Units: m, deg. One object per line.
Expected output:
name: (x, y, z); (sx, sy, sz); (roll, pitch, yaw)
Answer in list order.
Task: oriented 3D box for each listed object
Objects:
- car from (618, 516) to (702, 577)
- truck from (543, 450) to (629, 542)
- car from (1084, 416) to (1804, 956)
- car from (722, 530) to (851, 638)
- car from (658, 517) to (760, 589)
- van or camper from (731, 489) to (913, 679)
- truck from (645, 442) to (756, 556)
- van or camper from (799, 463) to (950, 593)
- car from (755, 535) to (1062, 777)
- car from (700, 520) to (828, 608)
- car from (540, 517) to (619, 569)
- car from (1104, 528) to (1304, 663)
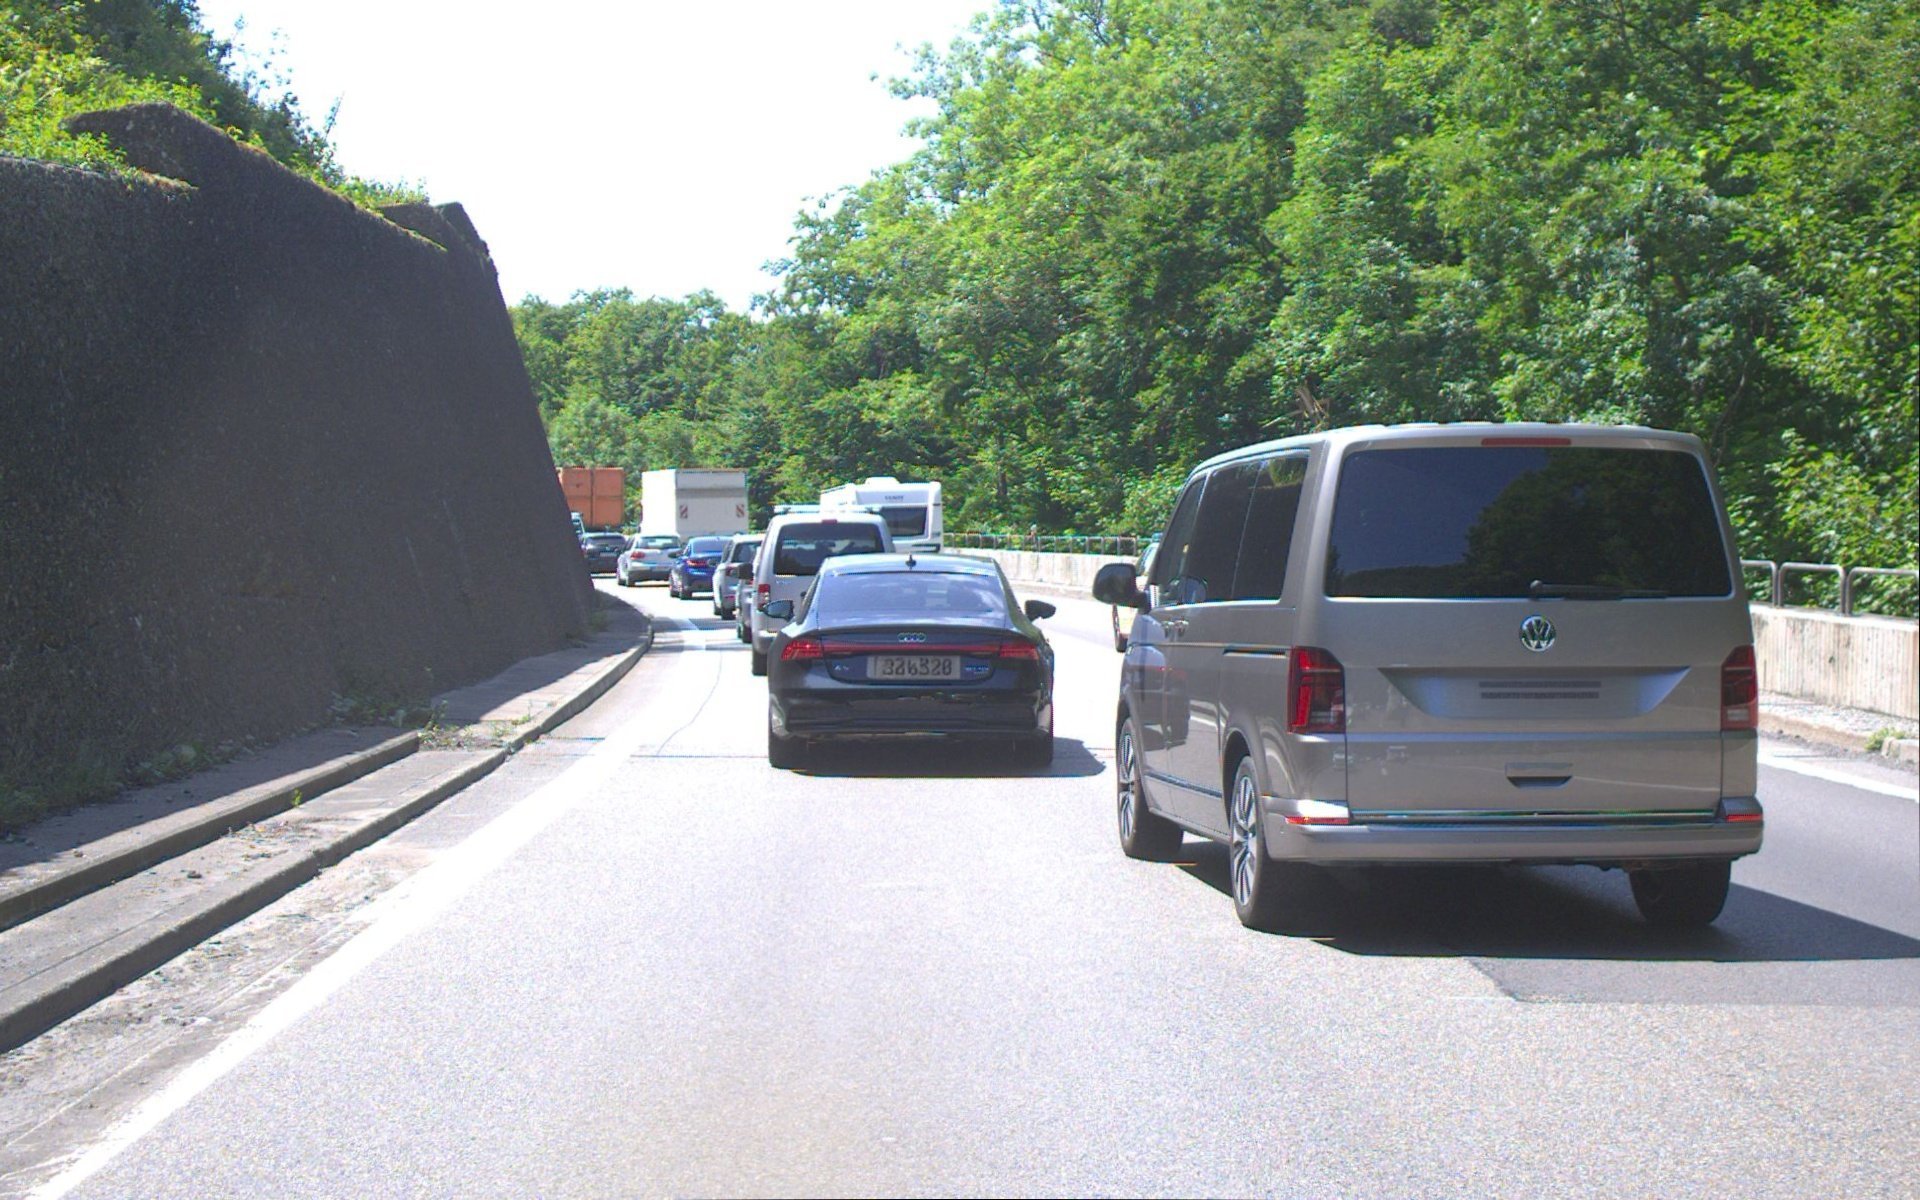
car: (-8.303, -1.483, 94.839); (1.993, 1.612, 4.001); (1, 1, -9)
truck: (-15.523, -4.279, 142.366); (3.163, 3.456, 8.224); (4, 1, -7)
car: (1.836, 0.263, 14.715); (1.940, 1.924, 4.695); (1, 1, -6)
car: (-2.628, -0.268, 51.302); (1.771, 1.467, 4.001); (2, 1, -4)
car: (-5.868, -1.104, 79.923); (1.857, 1.614, 4.001); (-1, 1, -11)
van or camper: (-1.525, -0.213, 39.291); (1.853, 1.935, 4.165); (4, 1, -1)
truck: (-9.167, -3.552, 120.705); (2.924, 3.674, 7.727); (4, 1, -10)
van or camper: (-2.115, -1.750, 82.888); (2.603, 2.845, 6.337); (4, 1, -10)
car: (-0.394, 0.311, 23.733); (1.904, 1.484, 4.380); (1, 1, -2)
car: (-3.709, -0.695, 64.522); (1.894, 1.579, 3.772); (1, 1, -11)
car: (-11.873, -1.798, 107.083); (1.750, 1.565, 3.772); (0, 1, -17)
car: (2.961, -0.095, 42.514); (1.808, 1.472, 4.082); (4, 1, -4)
